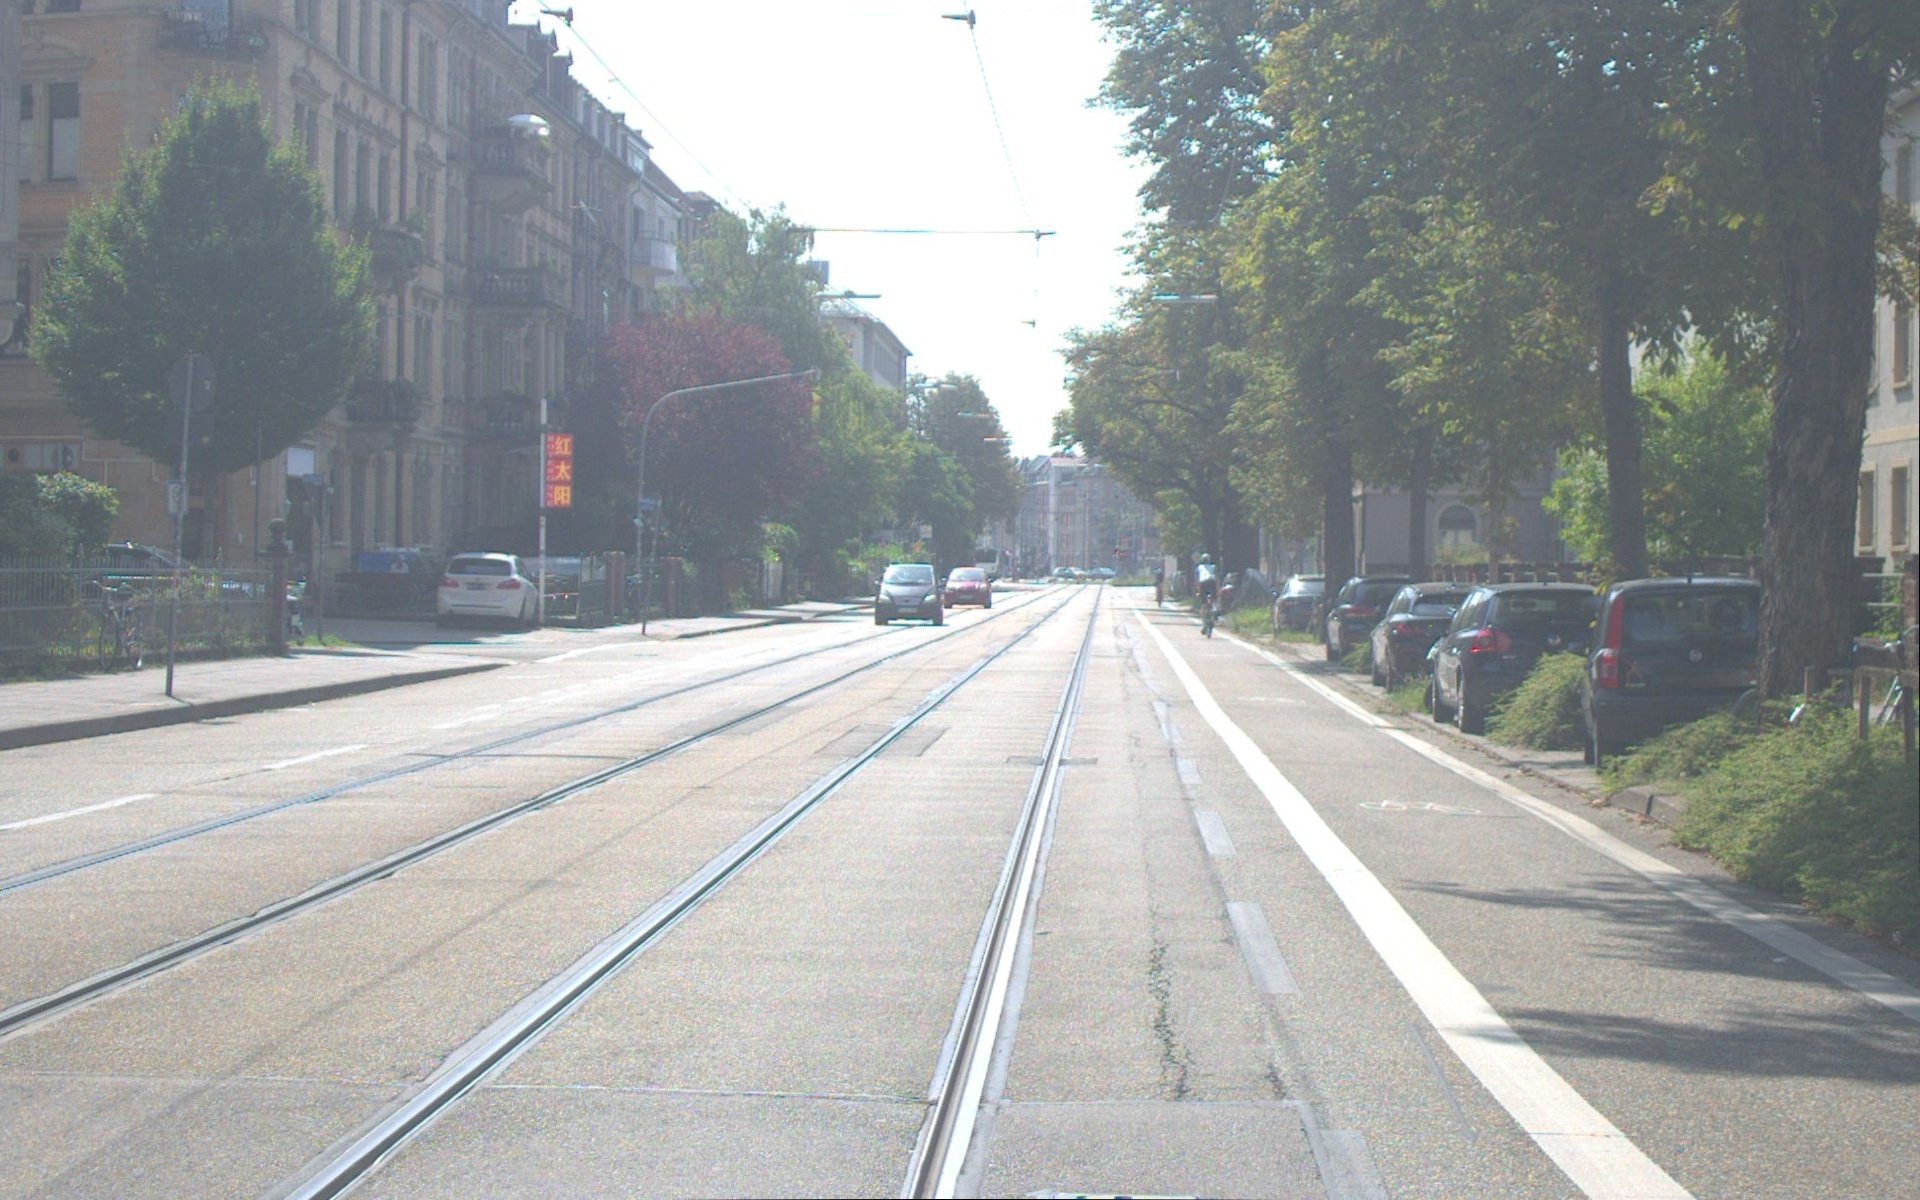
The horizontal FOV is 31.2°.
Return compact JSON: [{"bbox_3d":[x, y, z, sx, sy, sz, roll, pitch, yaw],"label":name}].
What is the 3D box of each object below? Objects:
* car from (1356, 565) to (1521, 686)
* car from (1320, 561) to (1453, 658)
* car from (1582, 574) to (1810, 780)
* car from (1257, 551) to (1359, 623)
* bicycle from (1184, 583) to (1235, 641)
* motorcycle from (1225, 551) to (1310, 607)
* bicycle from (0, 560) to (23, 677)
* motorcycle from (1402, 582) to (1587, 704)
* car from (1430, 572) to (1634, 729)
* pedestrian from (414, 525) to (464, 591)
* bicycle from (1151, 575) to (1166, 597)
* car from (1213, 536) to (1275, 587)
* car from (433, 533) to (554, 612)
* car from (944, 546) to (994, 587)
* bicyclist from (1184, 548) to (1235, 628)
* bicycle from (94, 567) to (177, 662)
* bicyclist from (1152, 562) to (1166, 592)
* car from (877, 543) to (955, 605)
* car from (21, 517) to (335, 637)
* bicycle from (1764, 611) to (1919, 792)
[{"bbox_3d":[6.409,0.308,46.396,1.755,1.472,4.457,-2,0,3],"label":"car"},{"bbox_3d":[7.005,0.128,56.788,1.755,1.472,4.386,1,1,2],"label":"car"},{"bbox_3d":[5.865,0.564,27.703,1.617,1.525,3.498,0,1,9],"label":"car"},{"bbox_3d":[7.546,-0.309,74.824,1.892,1.472,4.840,1,1,2],"label":"car"},{"bbox_3d":[5.767,0.262,79.424,1.148,1.265,2.712,1,1,4],"label":"bicycle"},{"bbox_3d":[8.773,-0.585,98.215,2.345,1.535,0.966,-1,-1,44],"label":"motorcycle"},{"bbox_3d":[-9.660,0.183,33.741,0.390,1.144,1.582,1,1,3],"label":"bicycle"},{"bbox_3d":[6.201,0.493,39.973,2.003,1.363,0.782,1,1,0],"label":"motorcycle"},{"bbox_3d":[5.843,0.475,35.462,1.617,1.472,4.039,0,1,3],"label":"car"},{"bbox_3d":[-12.014,-0.972,79.231,0.883,1.506,0.870,1,1,-28],"label":"pedestrian"},{"bbox_3d":[8.521,-0.595,147.409,0.588,0.936,2.171,1,0,5],"label":"bicycle"},{"bbox_3d":[9.379,-1.282,113.614,1.840,1.527,4.115,1,2,2],"label":"car"},{"bbox_3d":[-9.800,-0.605,72.507,1.993,1.589,4.360,1,1,-1],"label":"car"},{"bbox_3d":[0.353,-1.259,128.115,1.732,1.485,4.000,1,1,2],"label":"car"},{"bbox_3d":[5.752,-0.278,79.298,1.125,1.830,0.955,1,0,3],"label":"bicyclist"},{"bbox_3d":[-9.471,0.157,39.536,0.390,1.035,1.833,1,1,3],"label":"bicycle"},{"bbox_3d":[8.530,-0.985,147.444,0.579,1.274,0.471,1,0,5],"label":"bicyclist"},{"bbox_3d":[-1.131,-0.695,89.679,1.827,1.535,4.000,1,1,2],"label":"car"},{"bbox_3d":[-11.495,-0.352,50.681,4.102,1.589,1.878,2,1,4],"label":"car"},{"bbox_3d":[5.713,0.629,21.654,1.388,1.104,0.389,0,1,-33],"label":"bicycle"}]
